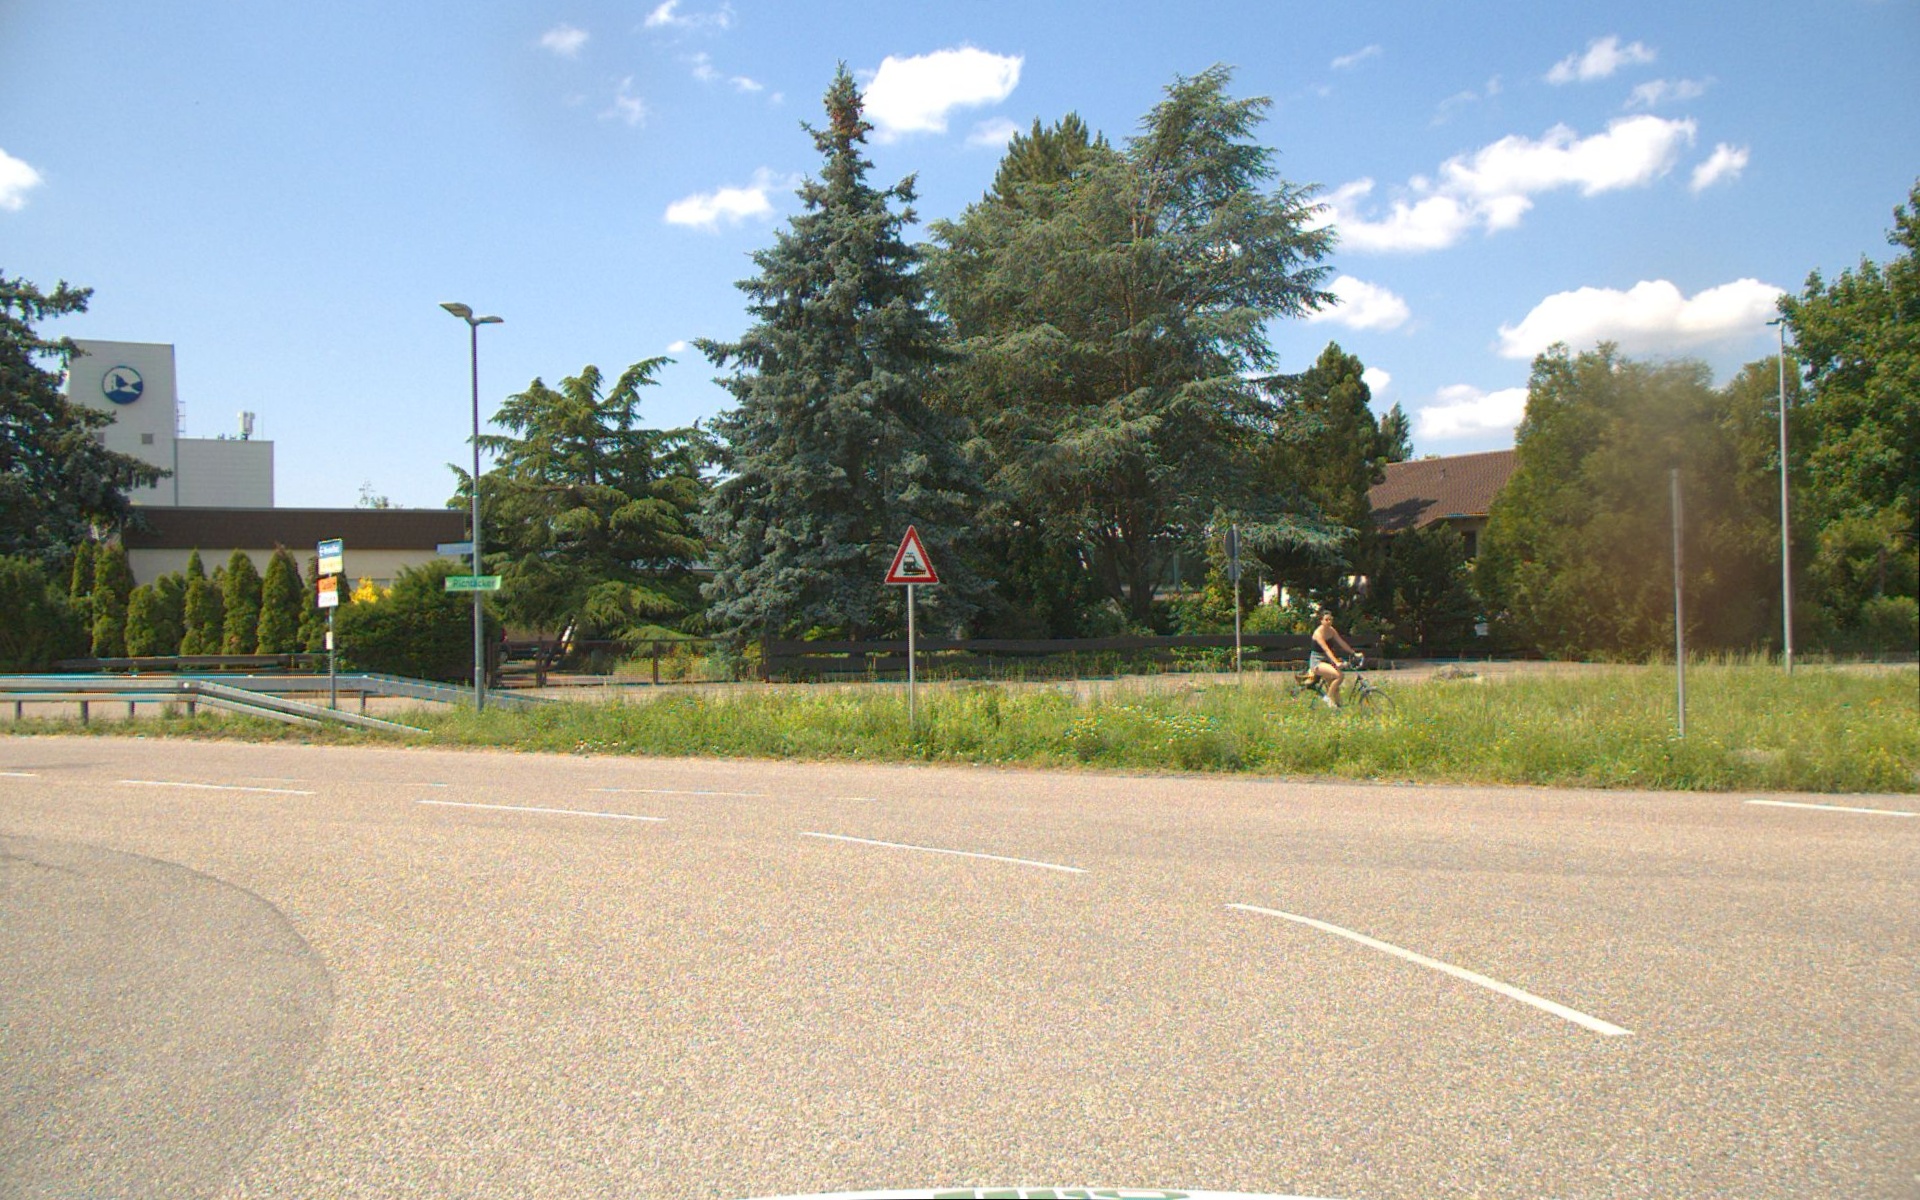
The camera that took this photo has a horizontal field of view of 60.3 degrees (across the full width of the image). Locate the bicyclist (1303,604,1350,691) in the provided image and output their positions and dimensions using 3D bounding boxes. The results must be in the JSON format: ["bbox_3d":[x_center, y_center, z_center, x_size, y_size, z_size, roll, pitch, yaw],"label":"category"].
[{"bbox_3d":[5.483,0.707,24.723,0.465,1.277,0.503,0,-1,-43],"label":"bicyclist"}]

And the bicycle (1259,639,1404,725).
[{"bbox_3d":[5.517,1.196,24.657,0.656,1.185,2.113,0,0,-42],"label":"bicycle"}]

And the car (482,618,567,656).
[{"bbox_3d":[-19.874,1.665,75.485,3.485,1.613,1.551,-1,0,-29],"label":"car"}]
